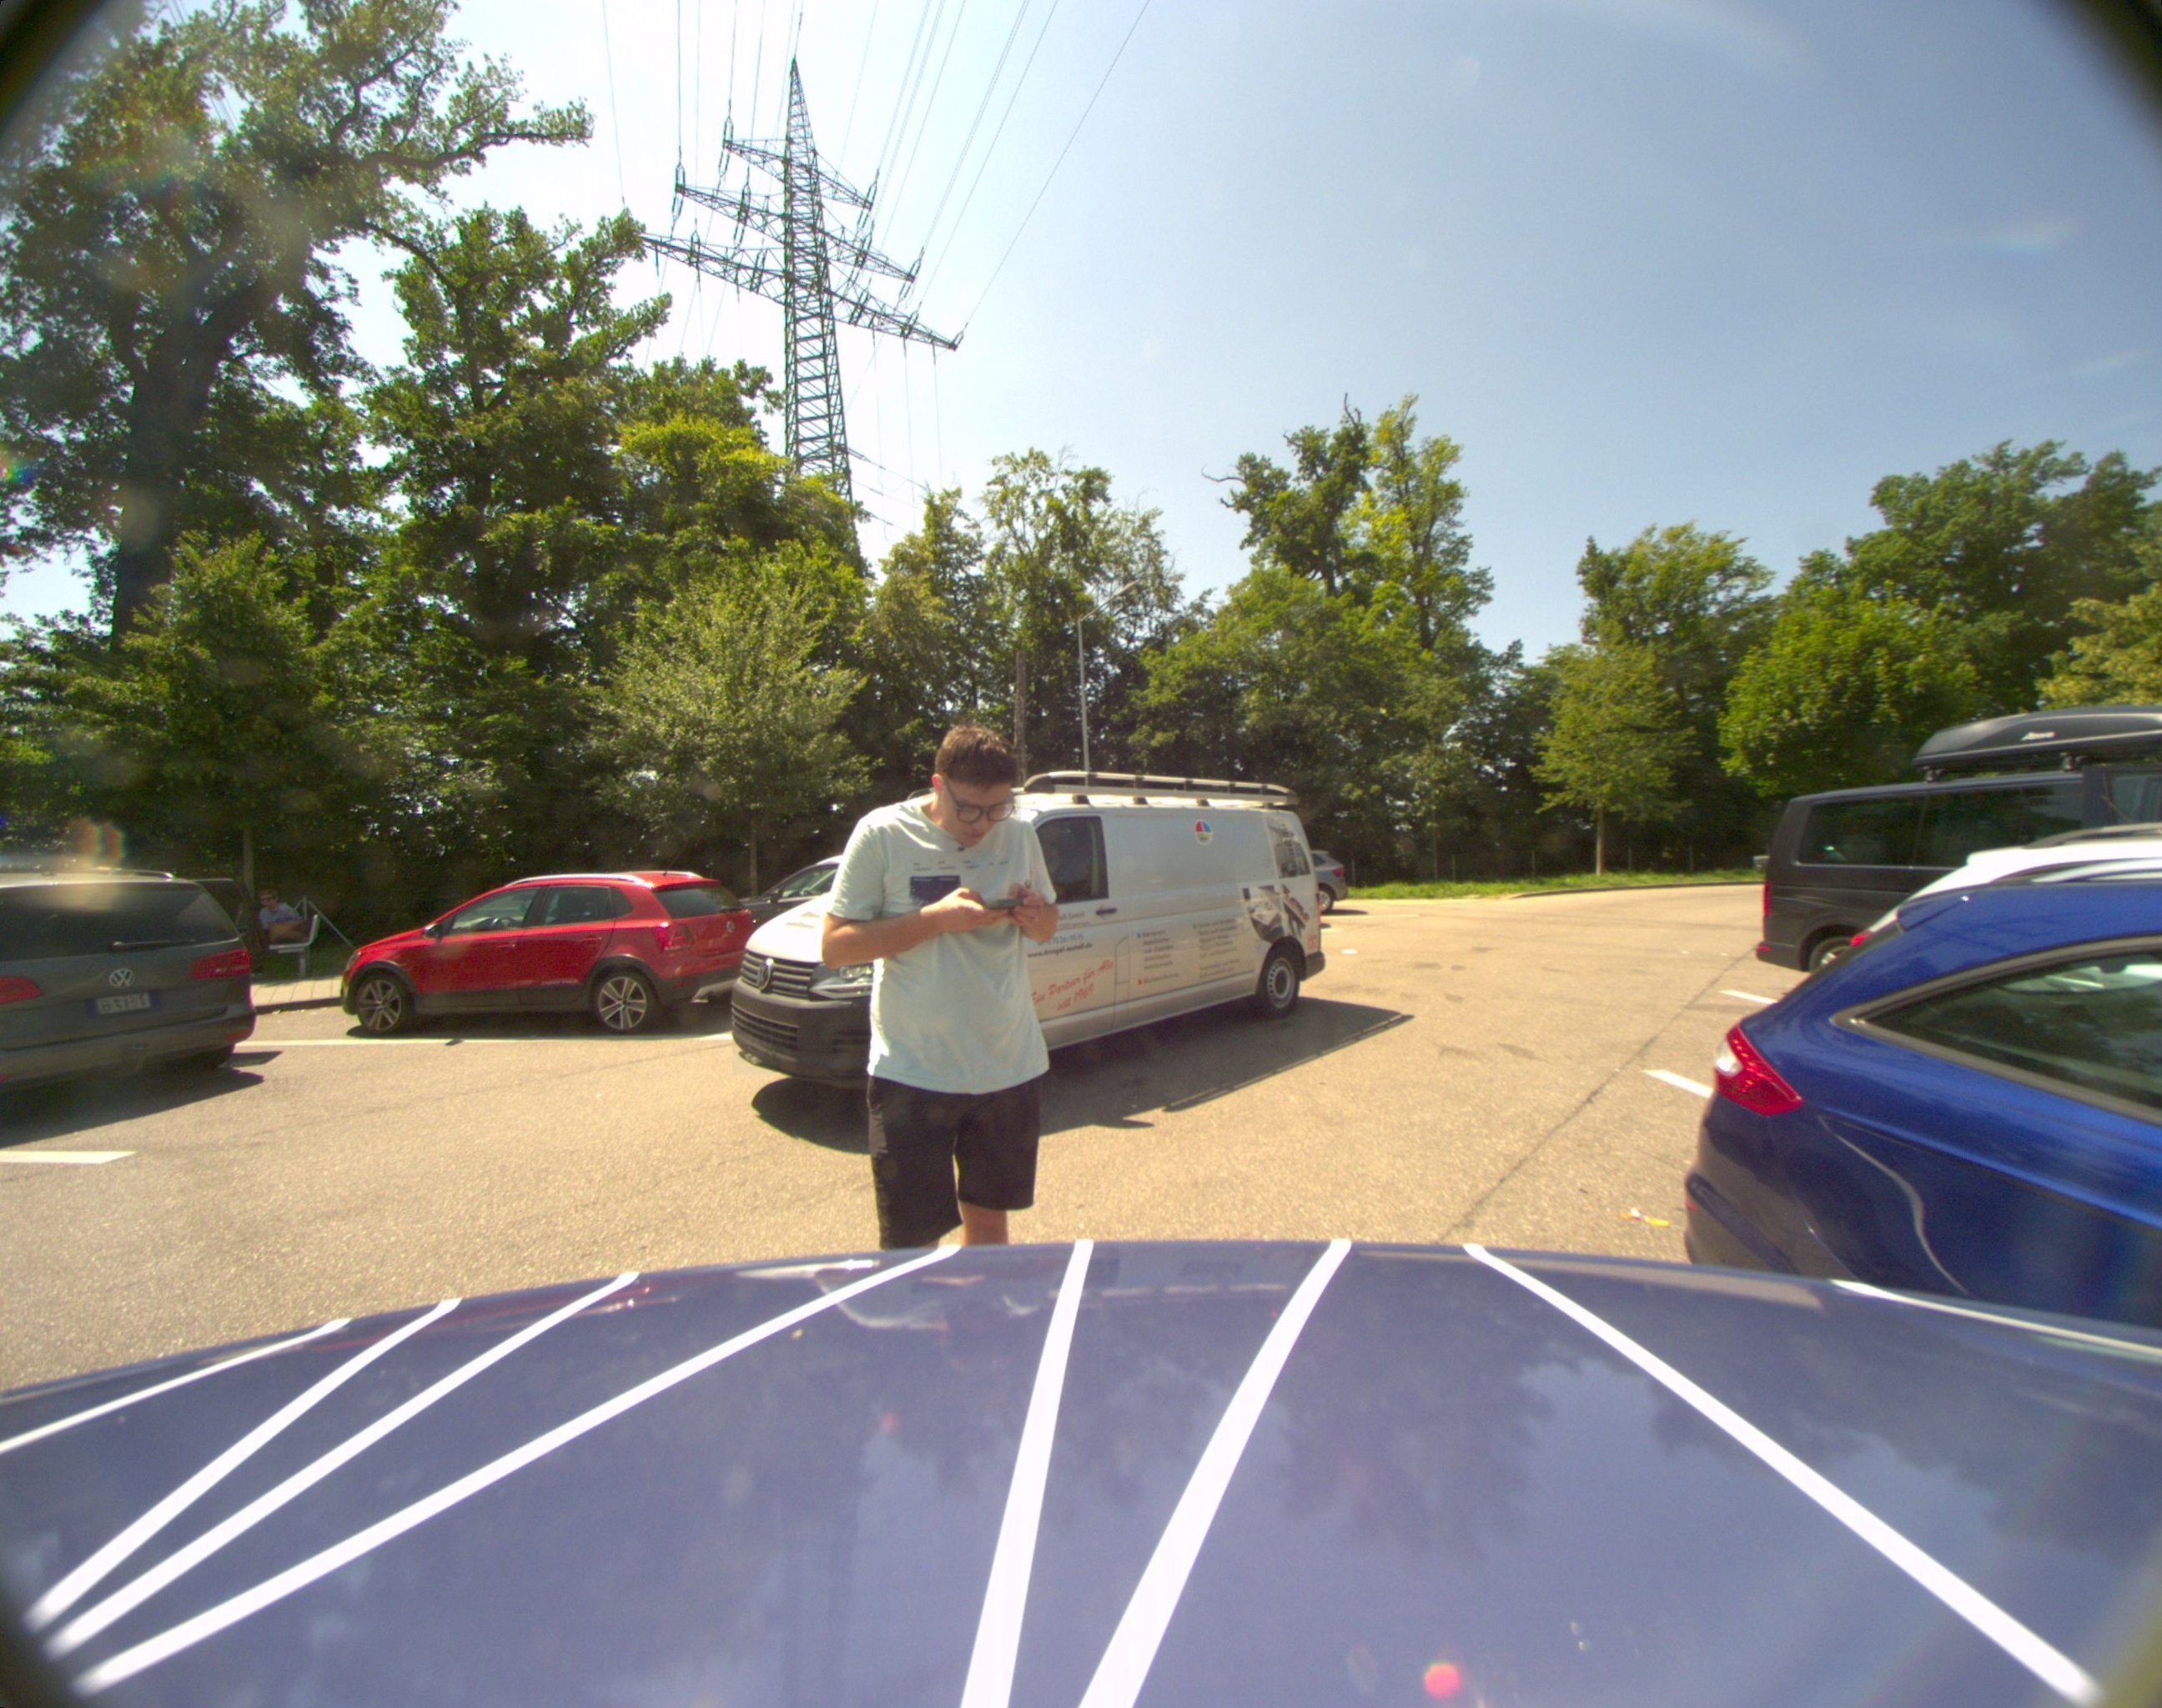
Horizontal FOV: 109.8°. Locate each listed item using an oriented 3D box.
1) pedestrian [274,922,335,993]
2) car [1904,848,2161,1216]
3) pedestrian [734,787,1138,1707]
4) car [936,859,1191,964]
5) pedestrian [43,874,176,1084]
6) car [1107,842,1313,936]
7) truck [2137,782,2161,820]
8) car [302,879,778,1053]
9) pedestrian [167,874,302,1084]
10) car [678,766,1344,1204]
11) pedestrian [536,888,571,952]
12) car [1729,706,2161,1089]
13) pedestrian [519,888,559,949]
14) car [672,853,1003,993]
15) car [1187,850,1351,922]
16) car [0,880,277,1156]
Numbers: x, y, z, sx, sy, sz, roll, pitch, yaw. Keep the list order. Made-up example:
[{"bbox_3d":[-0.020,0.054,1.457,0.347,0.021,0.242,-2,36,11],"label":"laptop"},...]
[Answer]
[{"bbox_3d":[-10.781,1.424,10.567,0.503,0.874,0.512,-3,1,-39],"label":"pedestrian"},{"bbox_3d":[4.702,0.659,2.160,1.344,1.352,3.114,-2,0,1],"label":"car"},{"bbox_3d":[-0.372,0.782,1.883,0.741,1.818,0.613,-2,0,-34],"label":"pedestrian"},{"bbox_3d":[-0.213,0.878,12.234,3.773,1.445,1.848,-2,0,4],"label":"car"},{"bbox_3d":[-8.352,1.042,6.546,0.436,1.712,0.511,-2,1,17],"label":"pedestrian"},{"bbox_3d":[2.525,0.681,15.409,3.850,1.678,1.755,-2,0,4],"label":"car"},{"bbox_3d":[40.274,-1.978,27.063,1.168,1.367,2.882,-2,-1,-19],"label":"truck"},{"bbox_3d":[-5.267,1.063,7.657,3.745,1.458,1.621,-2,0,7],"label":"car"},{"bbox_3d":[-7.379,1.049,6.639,0.481,1.712,0.589,-2,1,22],"label":"pedestrian"},{"bbox_3d":[-0.008,0.593,6.196,5.445,2.092,1.839,-2,1,-45],"label":"car"},{"bbox_3d":[-10.164,1.270,14.652,0.366,1.186,0.356,-2,1,21],"label":"pedestrian"},{"bbox_3d":[7.313,0.247,5.318,1.788,2.304,4.084,-2,0,-5],"label":"car"},{"bbox_3d":[-10.924,1.293,15.329,0.413,1.186,0.443,-2,1,12],"label":"pedestrian"},{"bbox_3d":[-3.112,0.868,10.278,3.866,1.607,1.709,-2,0,0],"label":"car"},{"bbox_3d":[4.361,0.733,18.116,3.585,1.493,1.707,-2,1,8],"label":"car"},{"bbox_3d":[-8.387,1.089,5.444,3.903,1.607,1.705,-2,1,11],"label":"car"}]
